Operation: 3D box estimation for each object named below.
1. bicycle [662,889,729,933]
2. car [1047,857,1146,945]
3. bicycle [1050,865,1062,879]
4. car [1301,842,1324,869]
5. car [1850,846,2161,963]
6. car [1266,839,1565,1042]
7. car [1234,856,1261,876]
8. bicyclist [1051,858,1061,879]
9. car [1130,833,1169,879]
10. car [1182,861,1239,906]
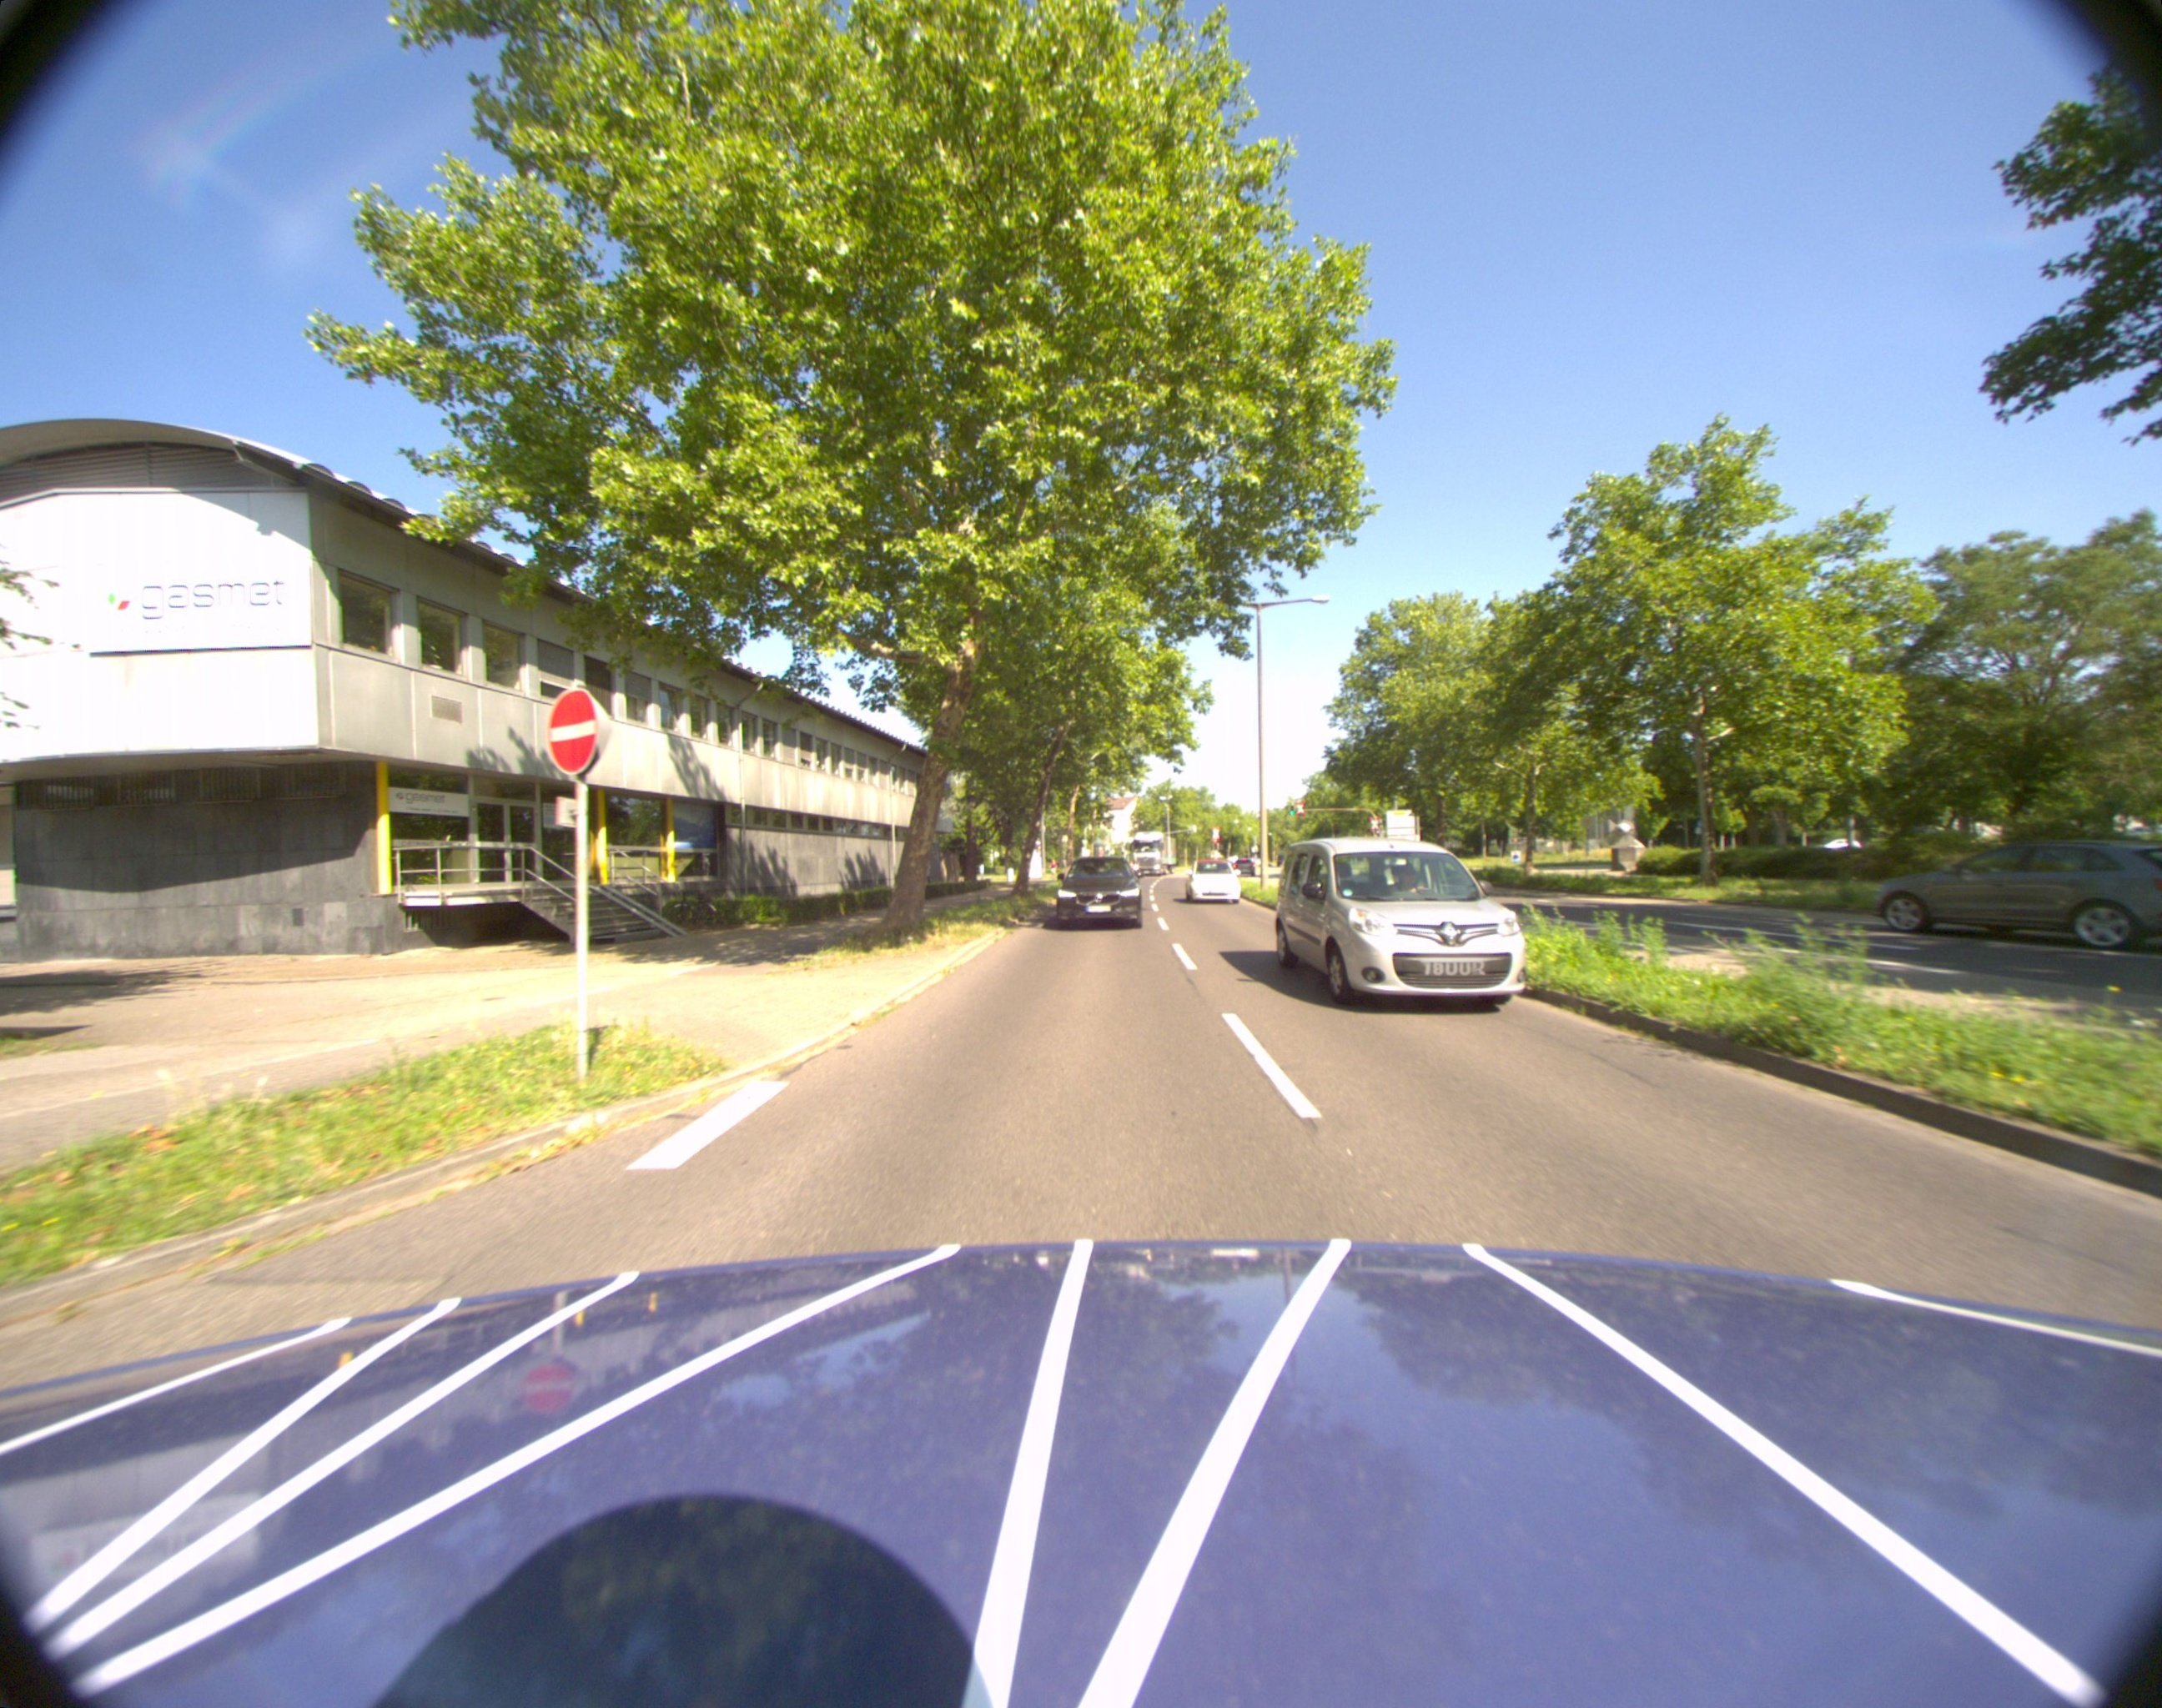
[{"bbox_3d":[-10.252,1.503,20.214,1.672,1.124,0.509,0,1,15],"label":"bicycle"},{"bbox_3d":[0.368,0.936,17.284,1.904,1.606,4.872,-1,1,2],"label":"car"},{"bbox_3d":[-2.173,1.561,66.536,0.692,1.178,2.126,-2,0,7],"label":"bicycle"},{"bbox_3d":[23.327,0.133,76.748,2.063,2.598,7.226,-1,0,15],"label":"car"},{"bbox_3d":[15.219,0.668,11.930,1.799,1.547,4.395,-1,0,-1],"label":"car"},{"bbox_3d":[3.567,0.784,9.108,1.876,1.829,4.377,0,0,4],"label":"car"},{"bbox_3d":[13.254,0.935,60.332,1.696,1.499,4.135,-2,0,17],"label":"car"},{"bbox_3d":[-2.169,1.260,66.559,0.702,1.776,0.811,-2,0,7],"label":"bicyclist"},{"bbox_3d":[6.342,0.158,69.218,2.901,3.897,7.147,-2,0,9],"label":"car"},{"bbox_3d":[4.583,1.022,27.334,1.688,1.482,4.378,0,-1,6],"label":"car"}]
